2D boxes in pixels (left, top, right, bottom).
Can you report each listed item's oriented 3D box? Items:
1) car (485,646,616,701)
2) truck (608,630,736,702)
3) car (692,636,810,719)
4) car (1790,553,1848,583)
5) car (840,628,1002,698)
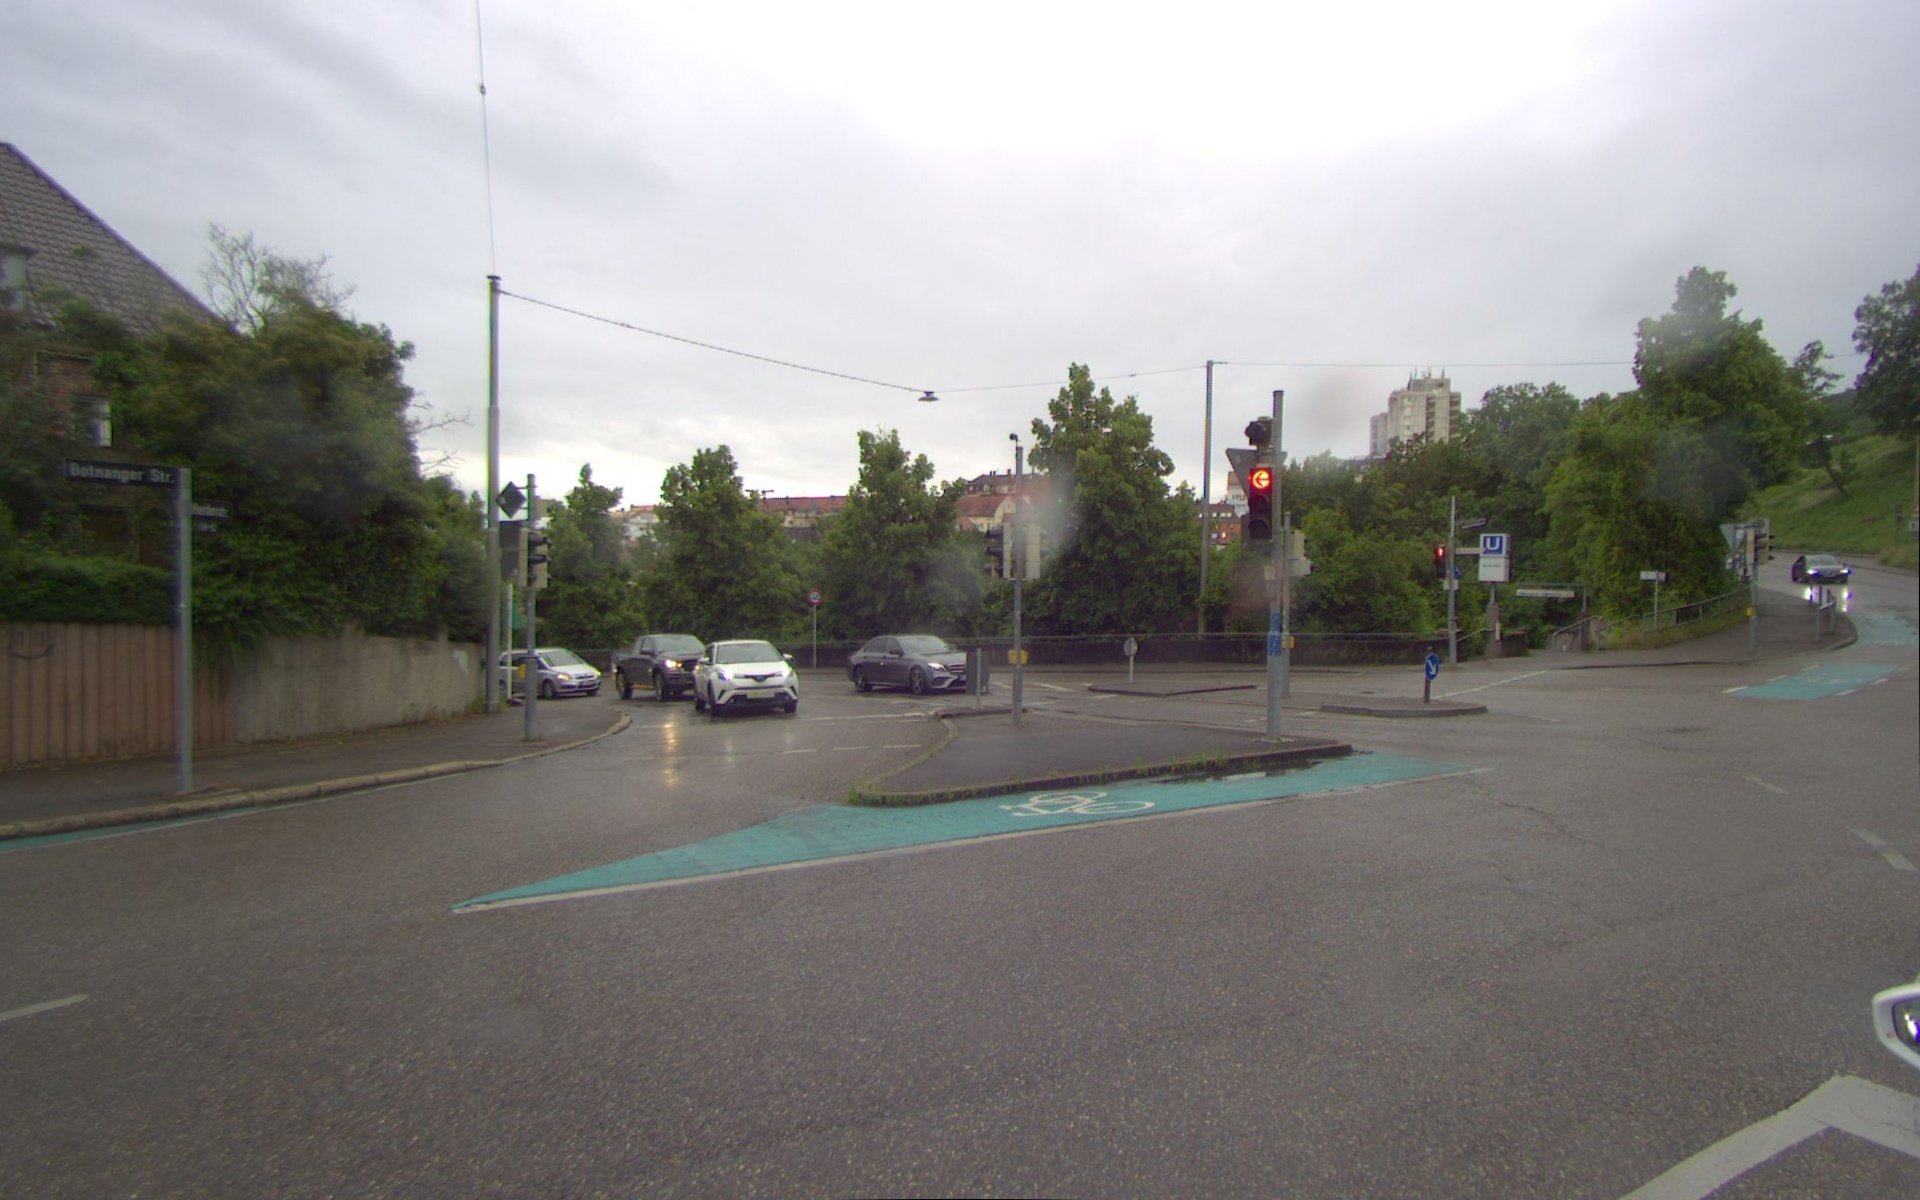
[{"bbox_3d":[-13.667,2.430,33.497,4.238,1.653,1.853,-2,-1,31],"label":"car"},{"bbox_3d":[-8.328,1.910,28.768,1.890,1.809,4.940,-2,-3,-36],"label":"truck"},{"bbox_3d":[-4.585,1.632,21.619,1.810,1.527,3.866,-2,-2,-21],"label":"car"},{"bbox_3d":[46.131,-1.757,54.031,1.931,1.532,4.388,1,3,36],"label":"car"},{"bbox_3d":[-1.094,1.567,25.652,1.961,1.527,4.444,-2,-1,-36],"label":"car"}]
